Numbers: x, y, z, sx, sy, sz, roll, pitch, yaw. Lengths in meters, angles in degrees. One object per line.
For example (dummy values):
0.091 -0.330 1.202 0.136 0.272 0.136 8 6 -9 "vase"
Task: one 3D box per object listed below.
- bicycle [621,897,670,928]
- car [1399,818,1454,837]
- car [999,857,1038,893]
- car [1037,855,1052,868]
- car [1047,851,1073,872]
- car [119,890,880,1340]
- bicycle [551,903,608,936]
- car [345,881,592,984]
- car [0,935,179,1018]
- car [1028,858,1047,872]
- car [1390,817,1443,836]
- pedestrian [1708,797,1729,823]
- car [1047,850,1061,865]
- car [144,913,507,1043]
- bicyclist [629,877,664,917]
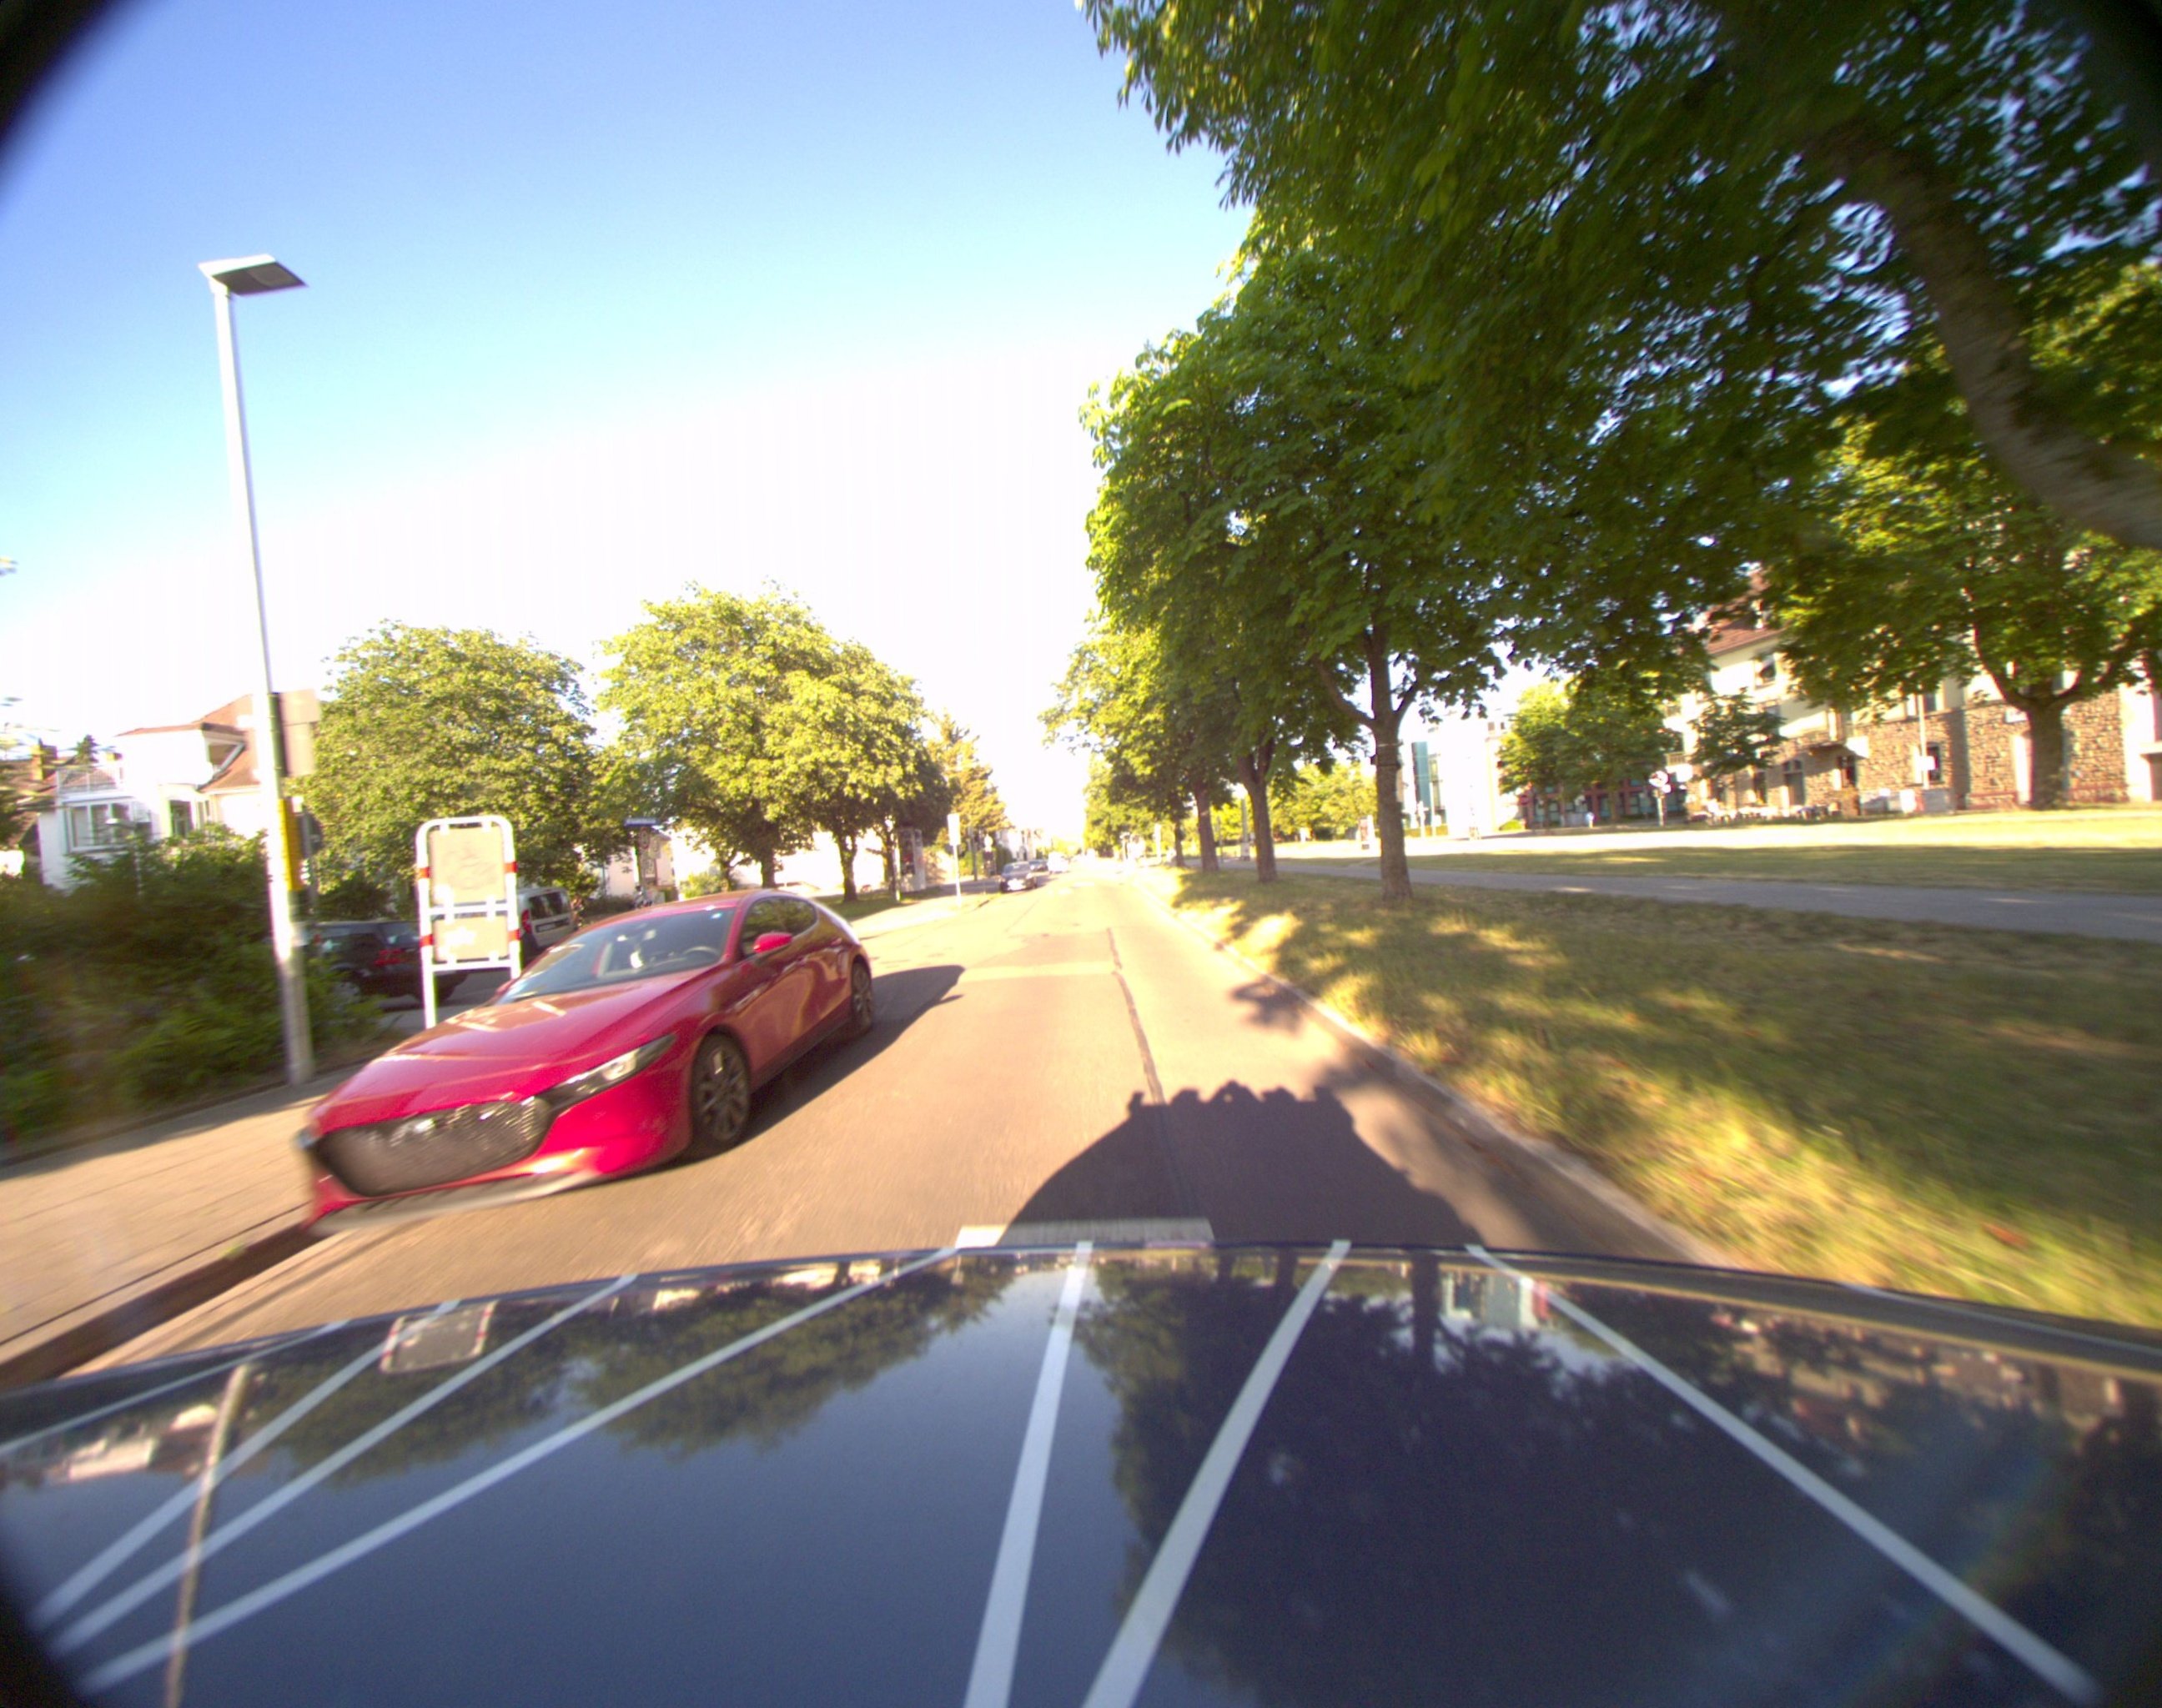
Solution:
-20.364 2.704 35.590 0.573 1.177 1.907 -7 1 23 "bicycle"
39.339 -2.960 86.525 5.220 1.662 1.999 -5 1 -2 "car"
-3.227 1.047 39.454 1.730 1.502 4.538 -6 1 -4 "car"
-5.015 1.014 105.071 1.796 1.586 4.077 -7 -1 0 "car"
-2.163 0.711 76.055 1.999 1.775 3.997 -7 2 -7 "car"
-2.875 1.152 5.136 1.714 1.351 4.202 -7 1 1 "car"
-22.041 2.849 33.402 0.491 1.177 1.967 0 4 44 "bicycle"
-14.930 1.872 18.725 4.252 1.864 2.030 -6 1 0 "car"
-25.162 3.056 18.592 3.932 1.515 1.523 -6 2 -4 "car"
-5.132 1.280 90.114 2.009 1.490 4.915 -3 0 -2 "car"
39.187 -3.166 88.710 5.221 1.662 1.966 -6 2 -5 "car"
42.128 -2.910 50.204 0.617 1.615 0.682 -7 1 -1 "pedestrian"
-5.116 0.639 146.133 2.132 2.461 5.723 -7 1 0 "car"
-11.977 1.927 12.257 3.997 1.438 1.716 -5 1 0 "car"
-20.375 1.994 35.636 0.815 1.722 0.895 -6 1 24 "bicyclist"
